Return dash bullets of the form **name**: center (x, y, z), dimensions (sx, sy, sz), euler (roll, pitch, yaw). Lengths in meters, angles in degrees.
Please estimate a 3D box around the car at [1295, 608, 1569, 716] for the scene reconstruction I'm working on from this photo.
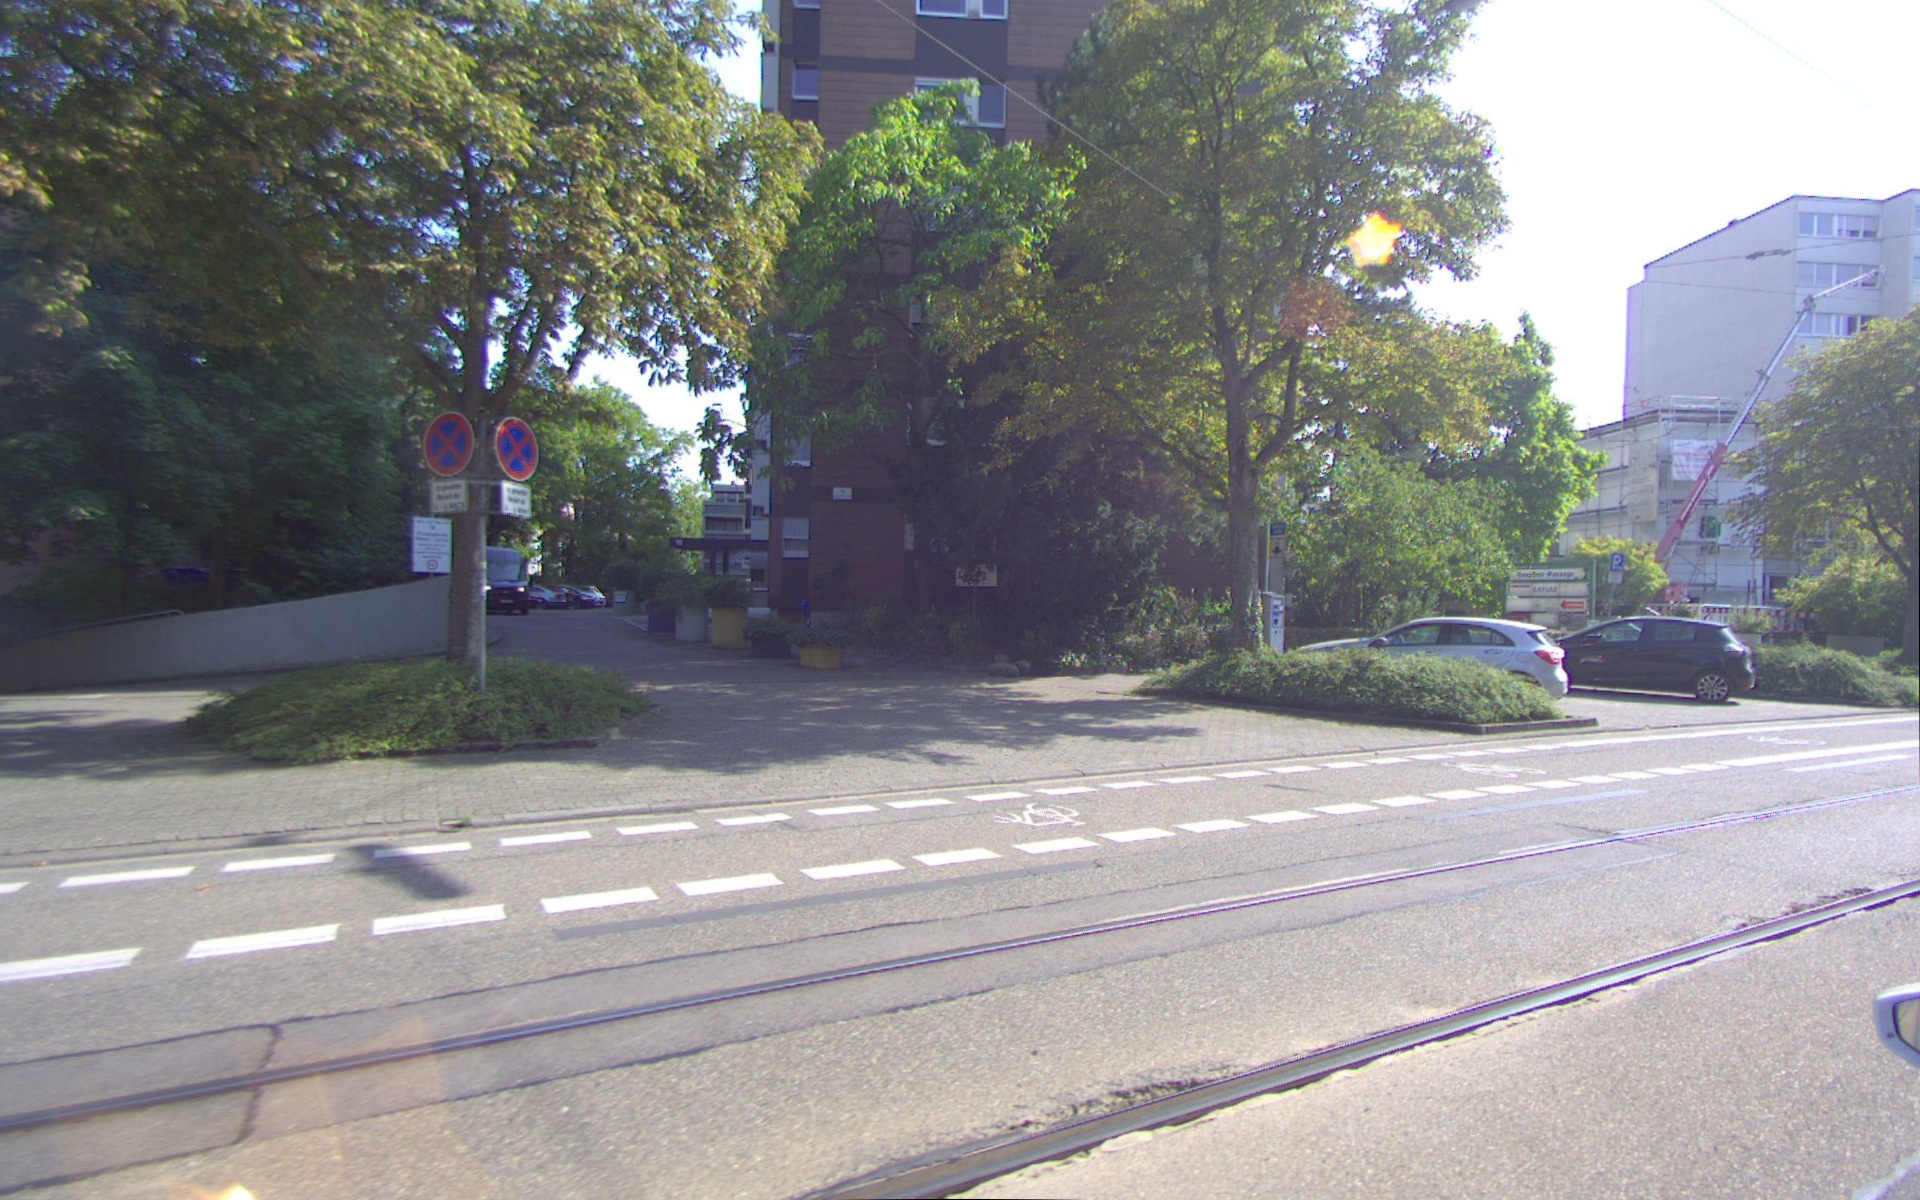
- **car**: center (7.837, 0.941, 16.761), dimensions (3.930, 1.499, 1.785), euler (2, 0, 32)

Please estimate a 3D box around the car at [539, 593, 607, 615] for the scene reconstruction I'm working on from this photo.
- **car**: center (-26.423, 0.293, 68.664), dimensions (4.054, 1.405, 1.440), euler (1, -1, -5)

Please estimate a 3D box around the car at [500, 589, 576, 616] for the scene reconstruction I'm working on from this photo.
- **car**: center (-25.961, 0.185, 61.897), dimensions (4.060, 1.547, 1.438), euler (1, -1, -11)

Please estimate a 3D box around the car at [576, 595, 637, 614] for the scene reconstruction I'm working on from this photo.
- **car**: center (-26.618, 0.340, 75.658), dimensions (4.054, 1.405, 1.440), euler (1, -1, -5)

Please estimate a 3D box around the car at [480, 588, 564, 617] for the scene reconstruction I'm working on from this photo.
- **car**: center (-25.008, 0.179, 57.473), dimensions (4.060, 1.547, 1.729), euler (1, -1, -11)

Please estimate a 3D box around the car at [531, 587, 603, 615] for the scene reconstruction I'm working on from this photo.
- **car**: center (-25.561, 0.091, 65.432), dimensions (4.054, 1.756, 1.440), euler (1, -1, -5)

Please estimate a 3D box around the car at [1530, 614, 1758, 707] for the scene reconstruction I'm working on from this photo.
- **car**: center (13.515, 1.122, 19.997), dimensions (3.586, 1.535, 1.616), euler (3, 1, 36)

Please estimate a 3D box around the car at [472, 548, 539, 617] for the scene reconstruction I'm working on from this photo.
- **car**: center (-18.716, -0.670, 41.223), dimensions (1.997, 2.631, 5.169), euler (1, 0, -30)

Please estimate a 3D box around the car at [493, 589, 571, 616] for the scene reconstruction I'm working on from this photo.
- **car**: center (-25.551, 0.182, 60.088), dimensions (4.060, 1.547, 1.438), euler (1, -1, -11)
